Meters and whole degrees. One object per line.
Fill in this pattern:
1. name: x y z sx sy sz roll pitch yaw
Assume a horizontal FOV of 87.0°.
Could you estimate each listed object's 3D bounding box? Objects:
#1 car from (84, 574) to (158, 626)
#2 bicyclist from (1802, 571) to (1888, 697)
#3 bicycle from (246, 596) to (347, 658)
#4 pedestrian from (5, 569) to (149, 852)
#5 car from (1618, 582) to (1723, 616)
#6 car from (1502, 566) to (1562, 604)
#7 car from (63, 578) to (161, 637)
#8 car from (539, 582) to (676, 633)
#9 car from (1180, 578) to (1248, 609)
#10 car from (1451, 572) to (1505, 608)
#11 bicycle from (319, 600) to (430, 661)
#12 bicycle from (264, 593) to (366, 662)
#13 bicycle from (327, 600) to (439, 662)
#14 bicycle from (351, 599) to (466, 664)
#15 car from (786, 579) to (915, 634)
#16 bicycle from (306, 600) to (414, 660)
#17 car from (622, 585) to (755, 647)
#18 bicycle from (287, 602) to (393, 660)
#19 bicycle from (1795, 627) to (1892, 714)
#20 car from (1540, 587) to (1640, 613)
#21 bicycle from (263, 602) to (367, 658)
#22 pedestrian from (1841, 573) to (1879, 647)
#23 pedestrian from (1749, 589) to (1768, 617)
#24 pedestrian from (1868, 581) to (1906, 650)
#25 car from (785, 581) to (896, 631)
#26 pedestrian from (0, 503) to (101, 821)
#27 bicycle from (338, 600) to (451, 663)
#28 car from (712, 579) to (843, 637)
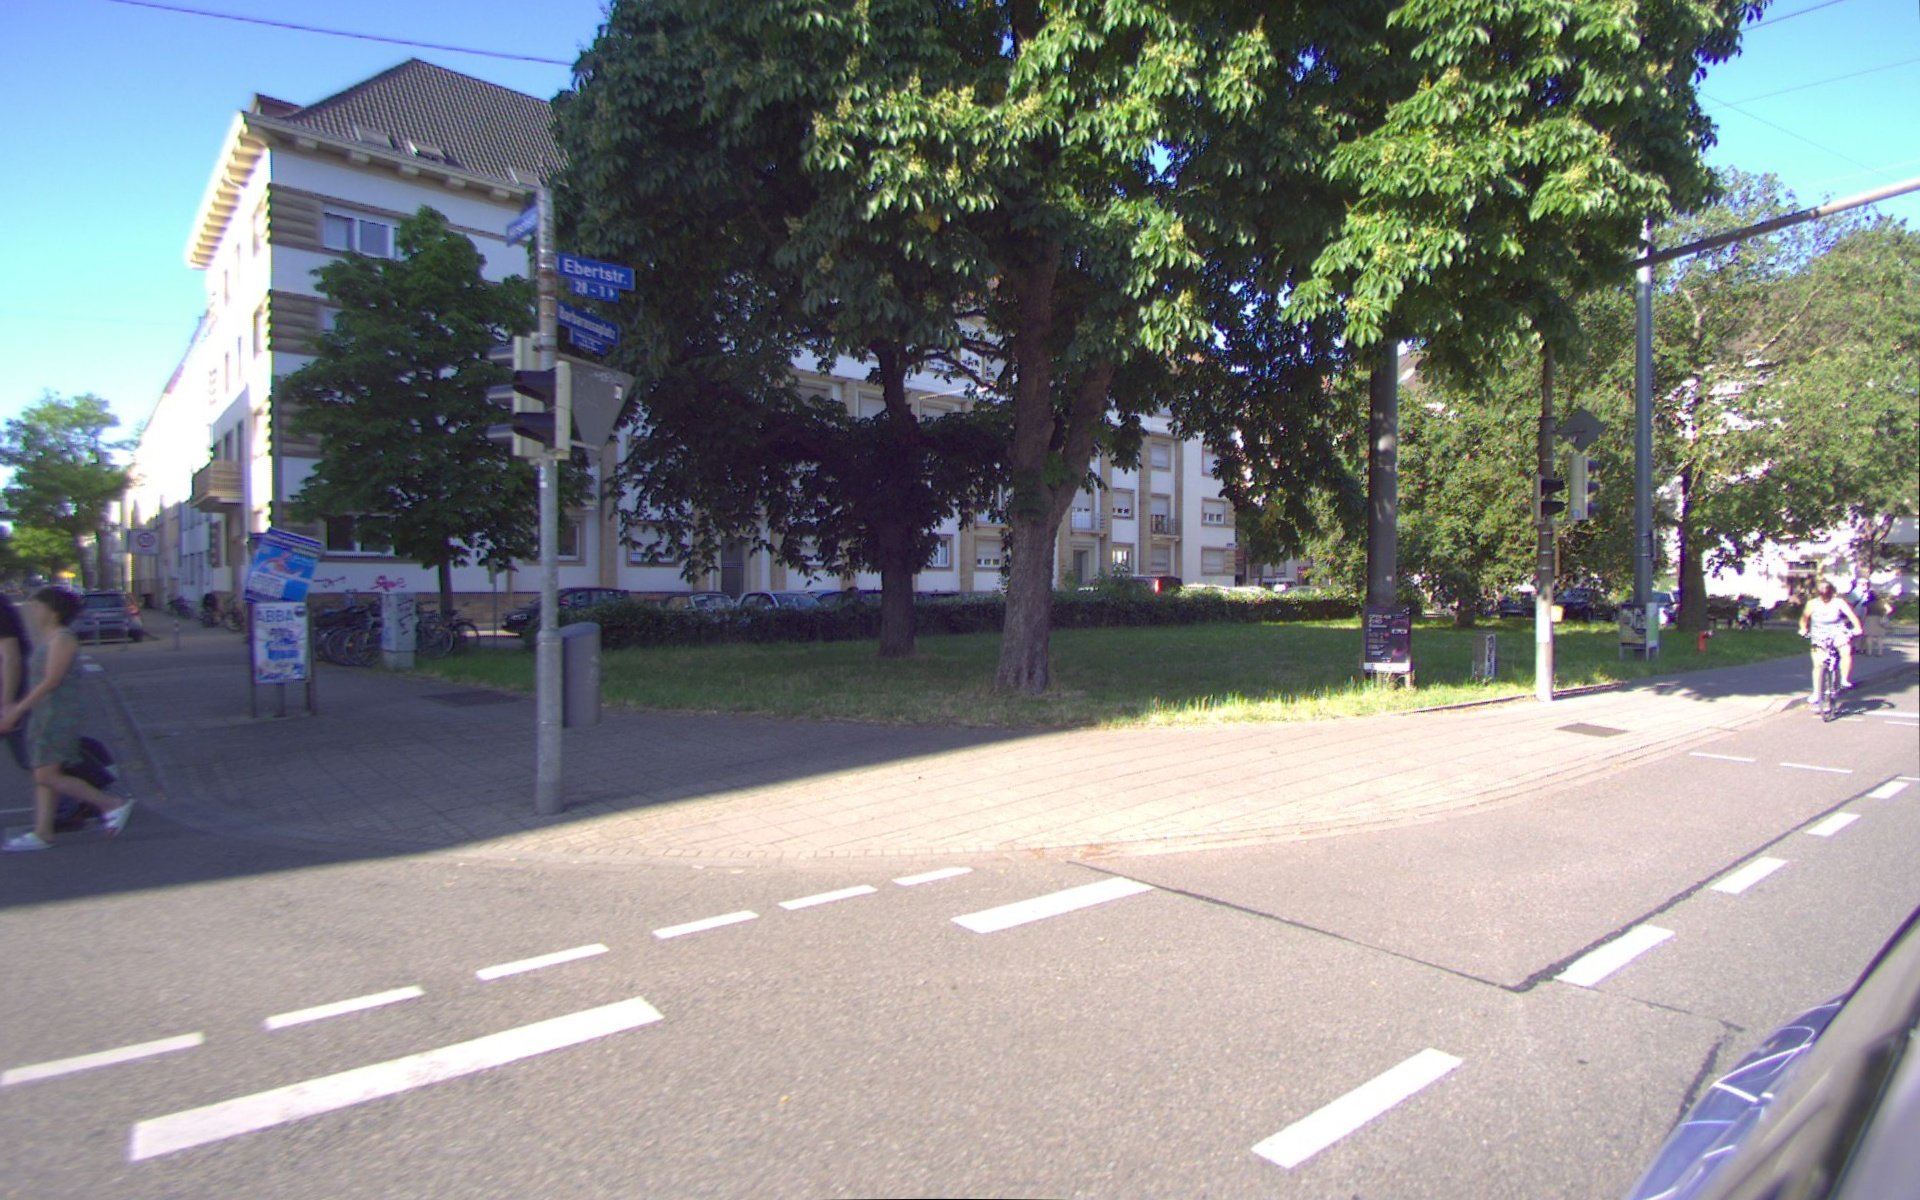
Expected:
1. car: -28.698 -0.054 34.707 1.659 1.671 4.000 0 1 -35
2. bicyclist: 11.012 0.397 12.594 0.919 1.493 0.677 0 1 -40
3. bicycle: -14.388 0.560 21.968 1.798 1.302 0.432 0 1 -42
4. pedestrian: -5.218 0.609 5.991 0.501 1.565 0.513 2 3 33
5. car: 29.164 -0.068 41.526 4.192 1.340 2.002 0 1 -31
6. car: 27.176 -0.715 47.995 1.988 1.720 4.221 1 1 37
7. car: -25.665 0.168 30.754 1.962 1.671 3.999 0 1 -36
8. car: -11.729 0.214 33.801 3.931 1.589 1.844 -1 1 -42
9. car: 14.509 -0.389 57.741 4.015 1.711 1.903 -1 1 -42
10. car: 26.049 -0.518 50.816 1.986 1.720 4.227 1 1 33
11. bicycle: -11.202 0.562 19.406 1.798 1.108 0.365 0 1 -42
12. bicycle: -13.782 0.559 21.655 1.798 1.405 0.432 0 1 -42
13. bicycle: -10.824 0.557 19.027 1.798 1.108 0.365 0 1 -42
14. bicycle: -9.979 0.553 18.357 1.798 1.108 0.365 0 1 -42
15. car: -3.252 0.133 29.504 1.964 1.466 3.997 -1 1 -38
16. bicycle: -11.728 0.560 19.820 1.798 1.108 0.365 0 1 -42
17. car: -7.141 0.346 26.398 1.964 1.466 3.997 -1 1 -38
18. bicycle: -12.494 0.607 20.440 1.798 1.108 0.365 0 1 -42
19. bicycle: 11.047 0.848 12.632 1.705 0.942 0.683 0 1 -41
20. car: 27.497 -0.016 44.158 4.192 1.080 2.002 0 1 -31
21. bicycle: -13.364 0.603 21.014 1.798 1.108 0.365 0 1 -42
22. pedestrian: 21.318 0.232 23.969 0.562 1.719 0.589 0 1 32
23. pedestrian: 31.212 0.102 39.562 0.602 1.092 0.459 0 1 -40
24. pedestrian: 21.220 0.341 23.165 0.593 1.546 0.624 1 1 40
25. car: -4.695 0.182 39.902 3.931 1.867 1.996 -1 1 -42
26. pedestrian: -5.944 0.351 6.065 0.784 1.850 1.022 2 3 33
27. bicycle: -10.438 0.557 18.722 1.798 1.108 0.365 0 1 -42
28. car: -5.146 0.161 28.133 1.964 1.466 3.997 -1 1 -38
